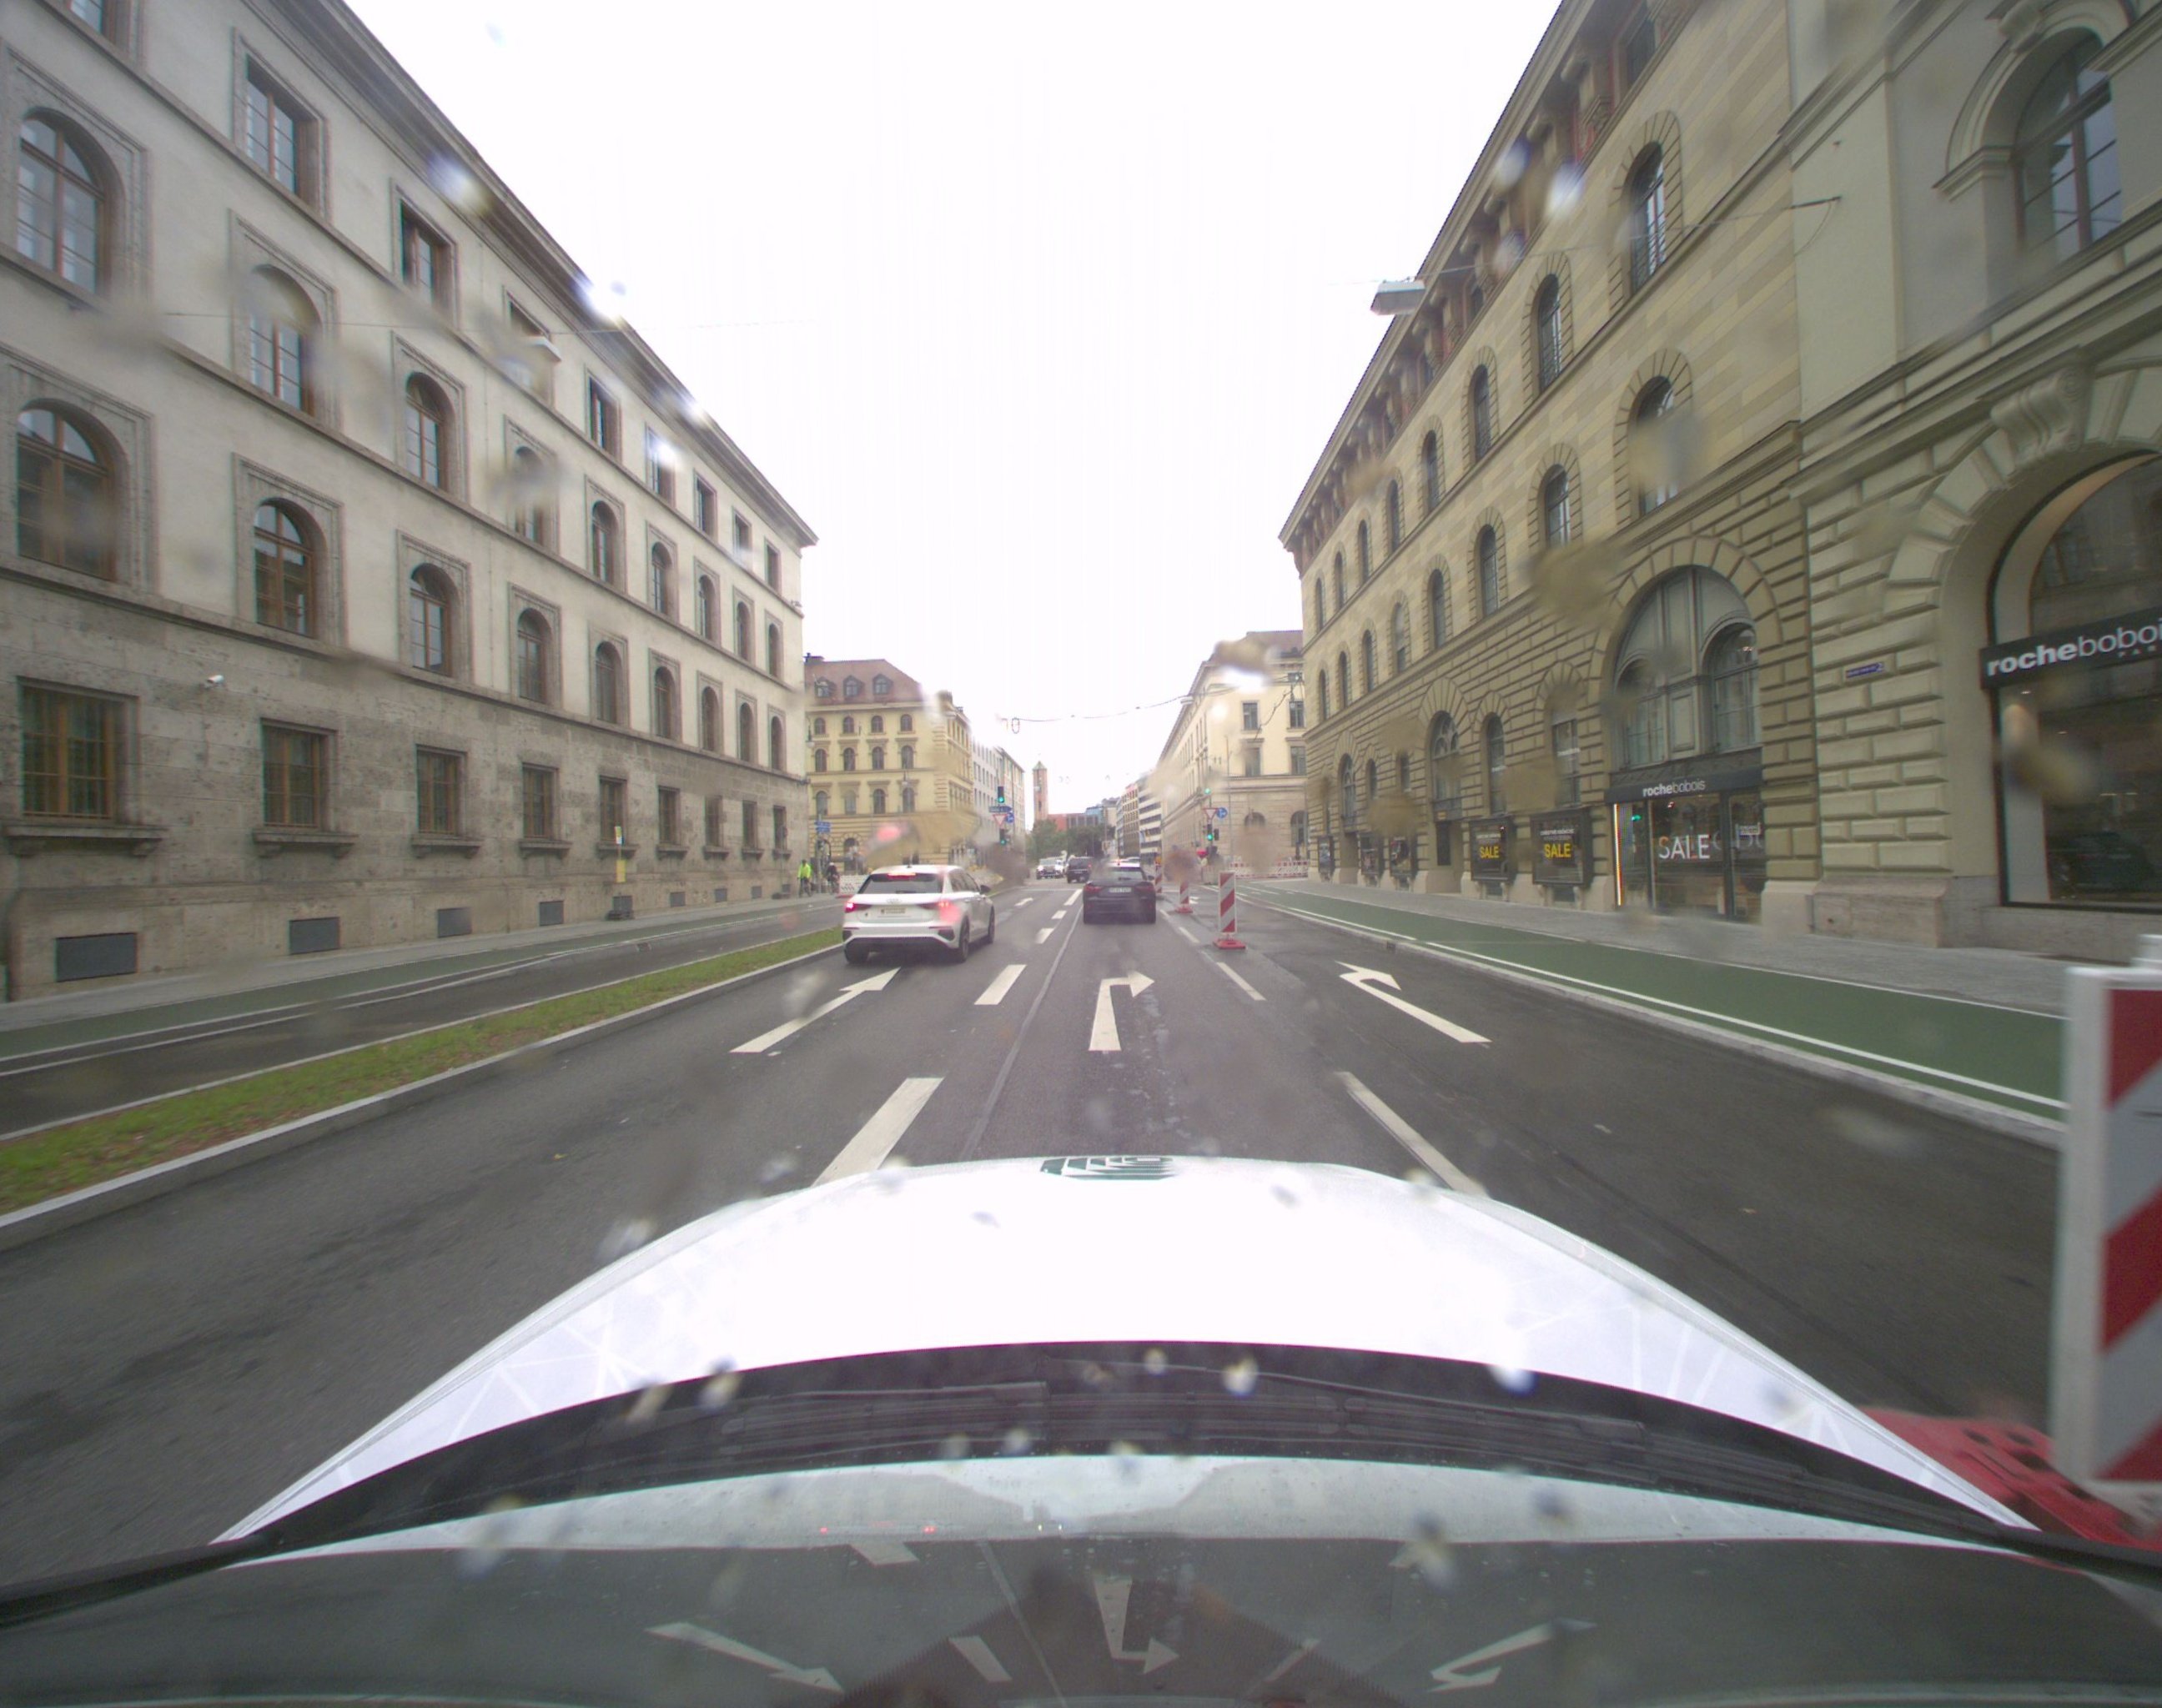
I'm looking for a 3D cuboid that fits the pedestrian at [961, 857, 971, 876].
[{"bbox_3d":[-11.277,1.233,79.856,0.727,1.772,0.743,-1,-1,23],"label":"pedestrian"}]

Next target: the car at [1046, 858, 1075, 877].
[{"bbox_3d":[-1.903,1.229,77.484,1.781,1.677,4.247,-2,0,12],"label":"car"}]

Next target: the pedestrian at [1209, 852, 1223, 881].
[{"bbox_3d":[7.421,0.665,44.790,0.699,1.567,0.682,-1,0,4],"label":"pedestrian"}]

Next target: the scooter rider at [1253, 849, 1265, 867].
[{"bbox_3d":[15.834,0.334,72.352,0.928,1.622,0.593,-1,0,3],"label":"scooter rider"}]

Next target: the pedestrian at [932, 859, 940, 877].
[{"bbox_3d":[-14.053,1.339,78.891,0.733,1.772,0.737,-1,0,-8],"label":"pedestrian"}]

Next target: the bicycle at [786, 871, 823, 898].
[{"bbox_3d":[-13.750,1.492,40.617,0.783,1.242,2.453,-1,0,6],"label":"bicycle"}]

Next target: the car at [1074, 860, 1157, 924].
[{"bbox_3d":[0.839,0.875,20.442,1.856,1.388,4.001,-1,0,2],"label":"car"}]

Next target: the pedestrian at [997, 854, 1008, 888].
[{"bbox_3d":[-4.198,0.907,43.722,0.512,1.743,1.040,-2,0,-8],"label":"pedestrian"}]

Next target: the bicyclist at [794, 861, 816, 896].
[{"bbox_3d":[-13.749,1.224,40.624,0.794,1.748,0.690,-1,0,5],"label":"bicyclist"}]

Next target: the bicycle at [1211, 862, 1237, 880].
[{"bbox_3d":[8.292,0.961,47.180,0.588,1.011,1.642,-1,0,-27],"label":"bicycle"}]

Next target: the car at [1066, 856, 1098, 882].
[{"bbox_3d":[0.106,0.939,52.434,1.858,1.601,3.852,-2,0,1],"label":"car"}]

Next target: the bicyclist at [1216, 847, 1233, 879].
[{"bbox_3d":[8.308,0.532,47.144,0.569,1.854,0.792,0,-1,-28],"label":"bicyclist"}]

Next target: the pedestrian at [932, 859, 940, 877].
[{"bbox_3d":[-13.925,1.347,78.157,0.733,1.772,0.737,-1,0,-8],"label":"pedestrian"}]

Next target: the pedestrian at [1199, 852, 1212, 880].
[{"bbox_3d":[6.986,0.655,45.699,0.699,1.567,0.542,-1,0,4],"label":"pedestrian"}]

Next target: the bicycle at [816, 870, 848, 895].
[{"bbox_3d":[-13.295,1.495,43.537,0.783,1.242,2.203,-1,0,6],"label":"bicycle"}]

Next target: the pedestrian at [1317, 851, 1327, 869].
[{"bbox_3d":[23.066,0.590,77.964,0.712,1.694,0.820,-1,0,3],"label":"pedestrian"}]

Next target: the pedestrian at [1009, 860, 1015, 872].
[{"bbox_3d":[-10.031,1.696,118.037,0.734,1.772,0.736,-1,0,1],"label":"pedestrian"}]

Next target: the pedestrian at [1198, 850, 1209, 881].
[{"bbox_3d":[6.590,0.604,43.724,0.529,1.620,0.674,-1,0,4],"label":"pedestrian"}]

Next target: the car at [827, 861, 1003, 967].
[{"bbox_3d":[-2.496,0.846,13.400,1.806,1.424,4.454,0,0,2],"label":"car"}]

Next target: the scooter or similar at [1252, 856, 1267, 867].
[{"bbox_3d":[15.843,0.655,72.350,1.206,0.965,0.588,-1,0,3],"label":"scooter or similar"}]

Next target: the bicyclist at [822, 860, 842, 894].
[{"bbox_3d":[-13.297,1.235,43.436,0.794,1.776,0.690,-1,0,5],"label":"bicyclist"}]

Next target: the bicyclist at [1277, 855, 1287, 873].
[{"bbox_3d":[18.098,0.891,73.410,0.740,1.615,0.796,-1,0,4],"label":"bicyclist"}]

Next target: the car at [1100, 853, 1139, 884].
[{"bbox_3d":[2.170,0.778,44.640,1.759,1.617,4.009,-1,0,8],"label":"car"}]

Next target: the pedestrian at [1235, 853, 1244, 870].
[{"bbox_3d":[15.050,0.731,77.224,0.812,1.557,0.669,-1,0,9],"label":"pedestrian"}]
